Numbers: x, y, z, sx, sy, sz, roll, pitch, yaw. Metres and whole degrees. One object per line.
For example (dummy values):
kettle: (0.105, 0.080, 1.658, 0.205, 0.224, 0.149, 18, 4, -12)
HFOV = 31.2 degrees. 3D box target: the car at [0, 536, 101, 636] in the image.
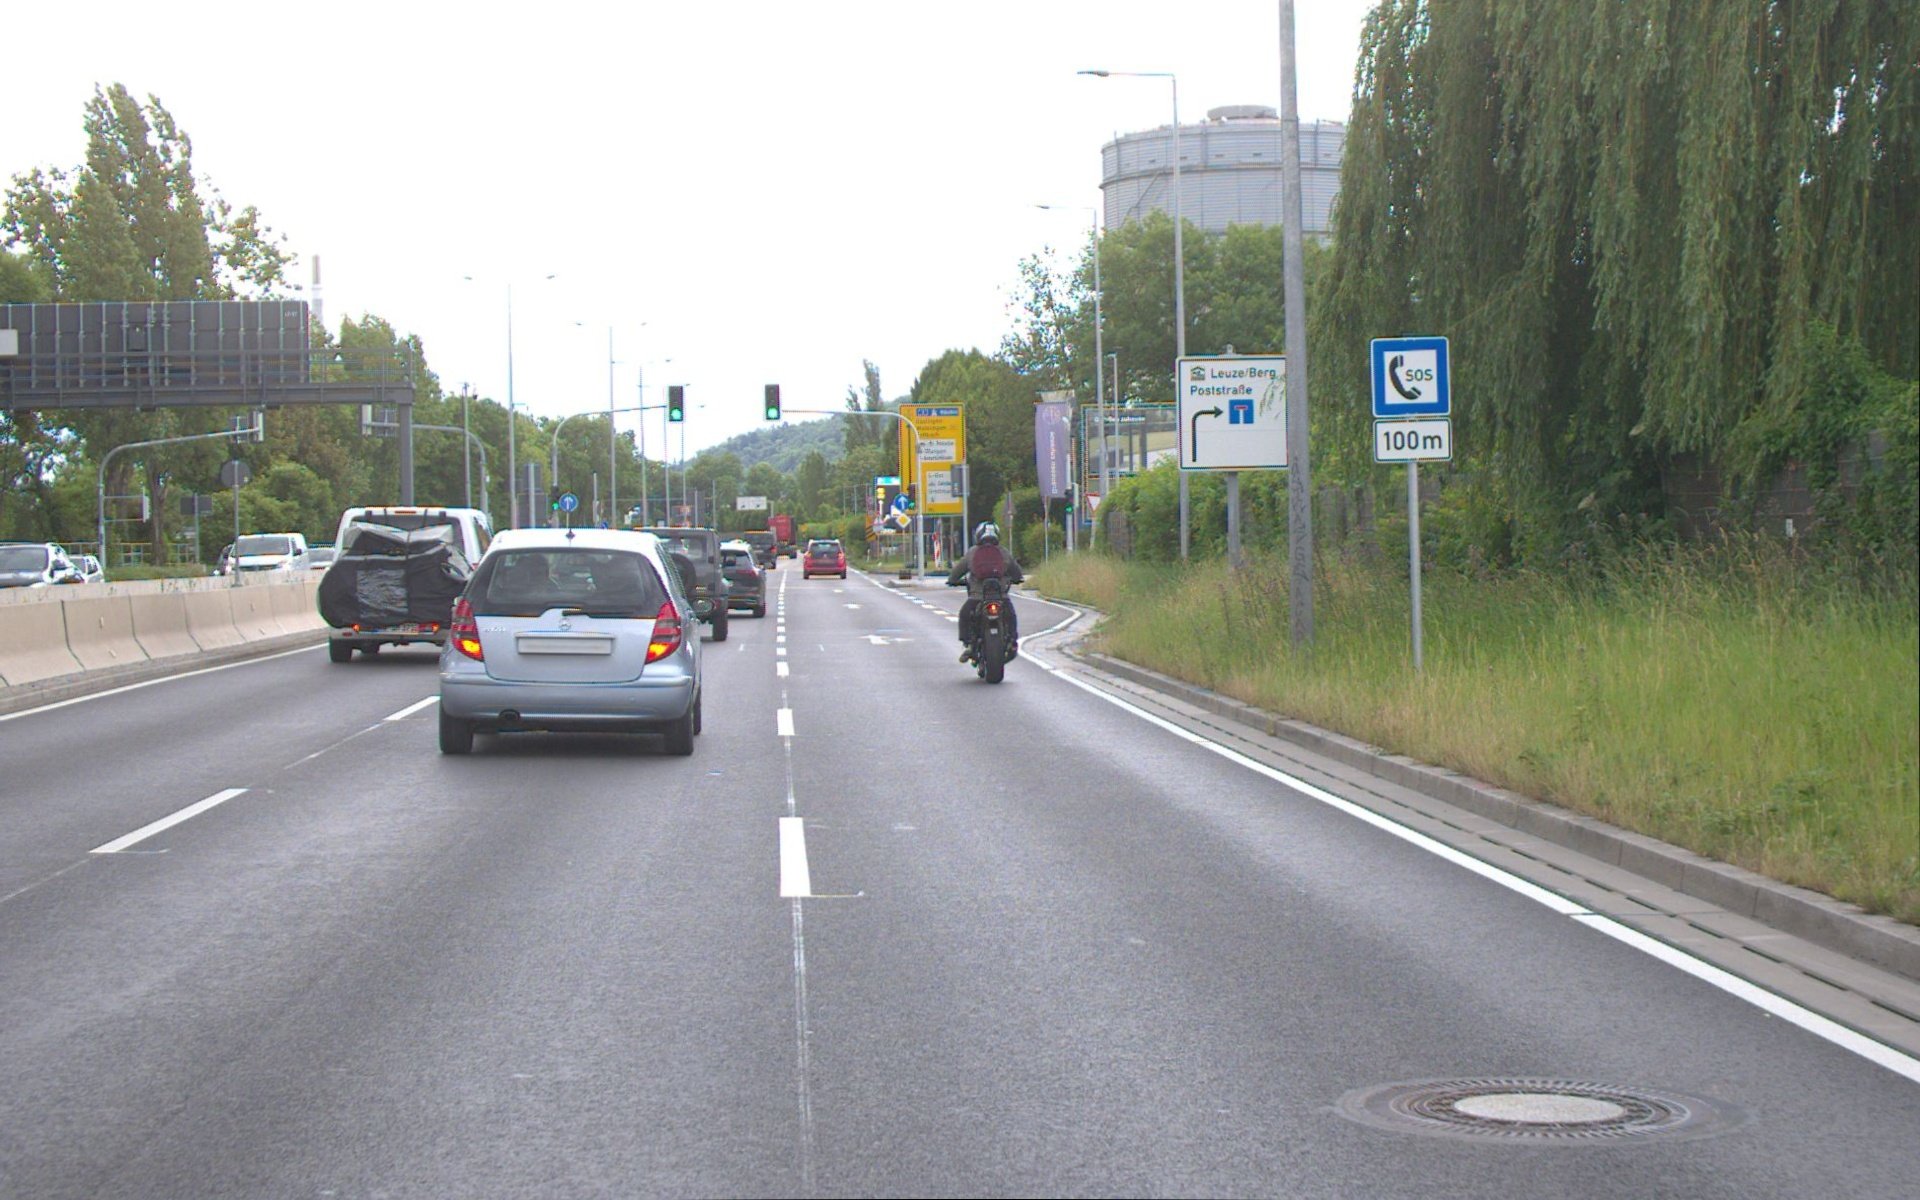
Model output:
car: (-17.348, -0.290, 63.660, 1.993, 1.733, 4.001, 1, 1, -2)

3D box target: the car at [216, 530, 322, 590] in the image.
car: (-19.379, -1.144, 96.634, 1.993, 1.554, 4.886, 1, 1, 0)

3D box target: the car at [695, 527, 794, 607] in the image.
car: (-4.196, -0.669, 67.246, 1.840, 1.459, 4.001, 1, 1, -3)

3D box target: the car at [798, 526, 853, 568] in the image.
car: (-5.279, -2.068, 134.281, 1.993, 1.546, 4.001, 1, 1, -4)

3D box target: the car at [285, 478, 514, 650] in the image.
car: (-6.739, -0.474, 41.847, 2.214, 1.919, 5.003, 1, 1, -3)

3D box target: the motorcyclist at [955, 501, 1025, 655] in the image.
motorcyclist: (0.312, -0.241, 36.530, 0.684, 1.604, 0.845, 1, 1, -1)

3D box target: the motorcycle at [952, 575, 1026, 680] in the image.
motorcycle: (0.300, 0.278, 36.577, 0.706, 1.036, 2.027, 1, 1, -1)

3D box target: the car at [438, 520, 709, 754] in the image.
car: (-2.744, 0.202, 25.109, 1.710, 1.525, 4.001, 1, 1, -3)

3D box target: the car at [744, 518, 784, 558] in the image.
car: (-10.322, -3.265, 181.020, 1.993, 2.007, 4.001, 1, 1, -2)

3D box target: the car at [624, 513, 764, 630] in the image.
car: (-4.014, -0.465, 52.392, 1.907, 1.678, 4.001, 1, 1, -2)
